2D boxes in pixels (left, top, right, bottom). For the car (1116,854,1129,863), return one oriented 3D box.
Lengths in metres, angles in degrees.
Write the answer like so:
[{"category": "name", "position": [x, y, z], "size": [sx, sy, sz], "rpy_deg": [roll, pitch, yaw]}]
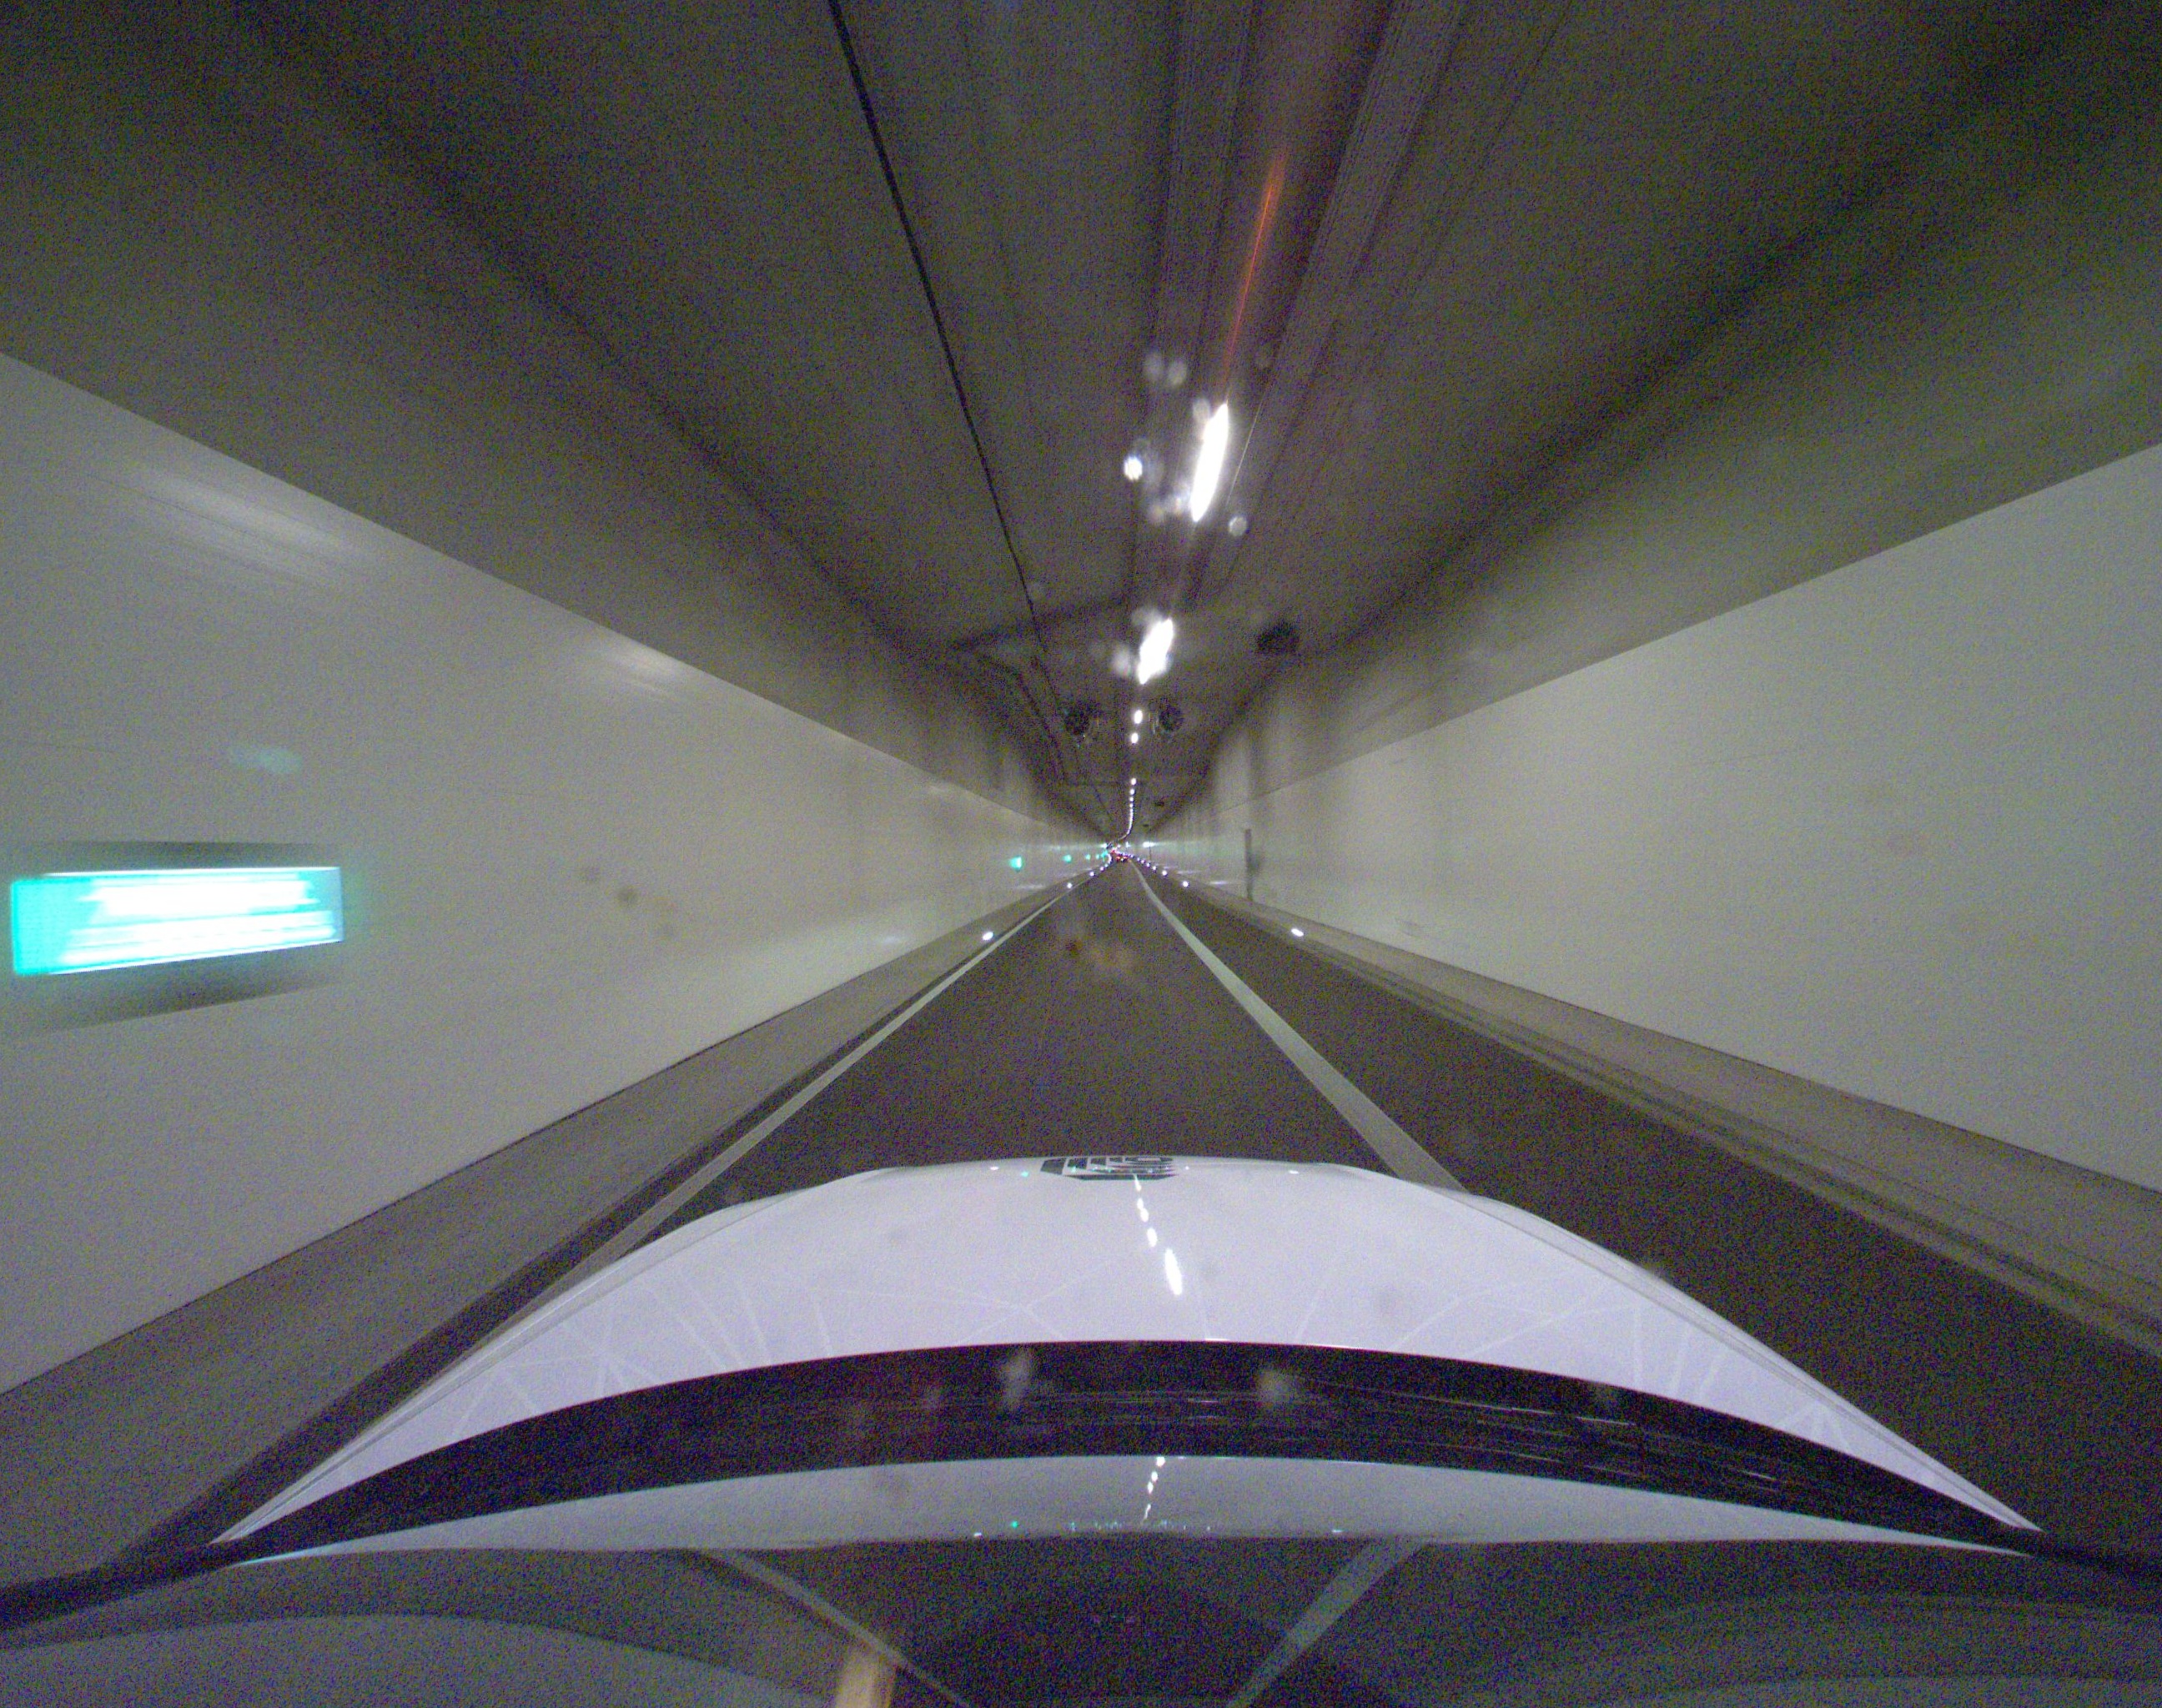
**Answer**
[{"category": "car", "position": [6.987, 0.804, 136.112], "size": [1.987, 1.420, 4.000], "rpy_deg": [-2, 0, 1]}]
